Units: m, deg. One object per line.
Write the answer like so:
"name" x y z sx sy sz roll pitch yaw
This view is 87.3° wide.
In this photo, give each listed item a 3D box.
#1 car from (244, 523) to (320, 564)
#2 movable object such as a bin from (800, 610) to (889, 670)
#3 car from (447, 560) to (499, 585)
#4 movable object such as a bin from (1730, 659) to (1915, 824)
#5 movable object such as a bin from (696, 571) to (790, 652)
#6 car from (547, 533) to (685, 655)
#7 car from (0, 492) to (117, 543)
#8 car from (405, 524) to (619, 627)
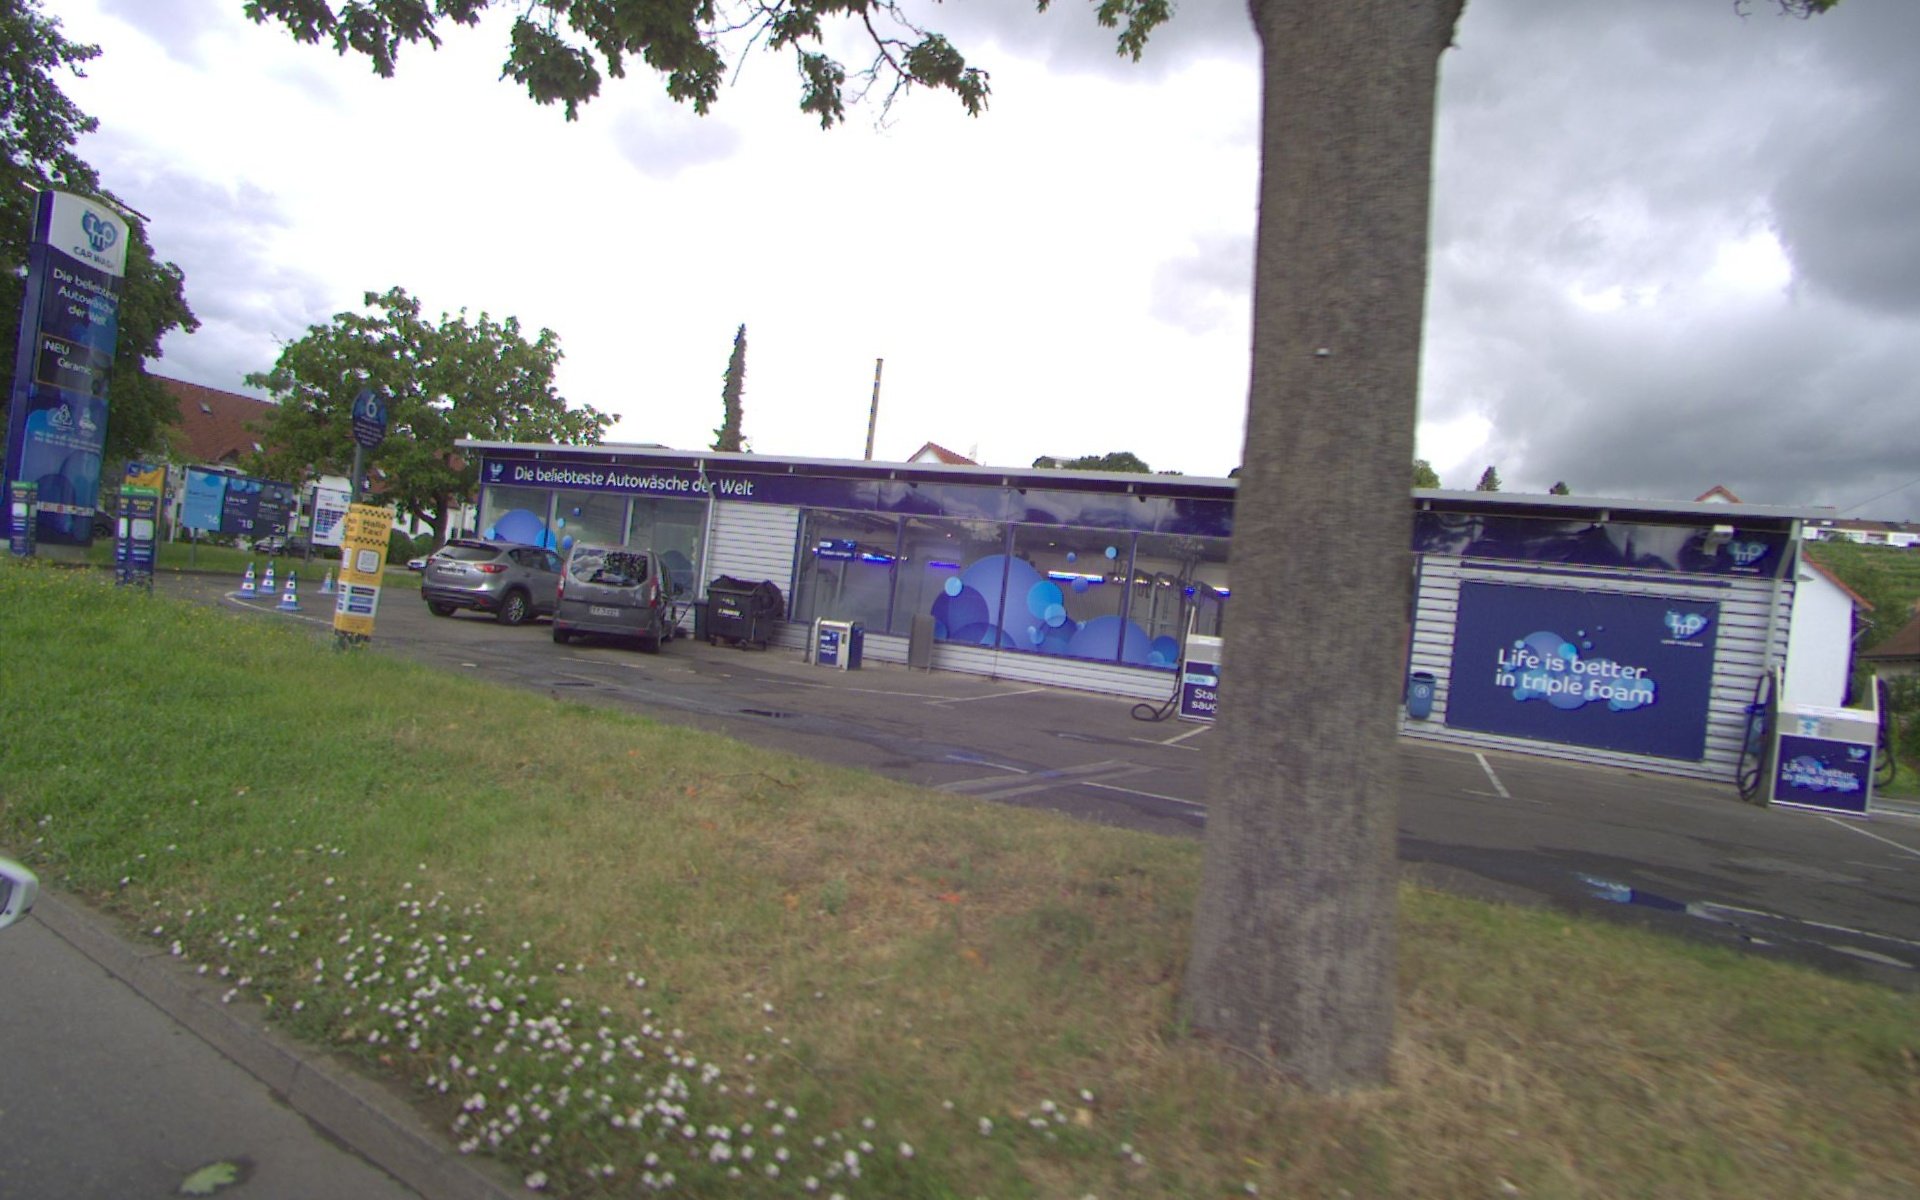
"car" -41.638 -3.431 61.899 1.965 1.784 4.001 8 -3 -5
"movable object such as a bin" -2.219 0.776 19.424 1.167 0.988 1.161 7 -1 27
"car" -40.530 -2.252 83.819 1.964 1.441 4.474 8 -3 0
"movable object such as a bin" 11.189 1.793 13.137 1.430 1.841 1.161 7 0 27
"movable object such as a bin" -4.554 0.249 21.171 1.363 1.492 1.161 7 0 27
"car" -6.336 -0.104 18.988 1.723 1.843 4.375 7 -1 -12
"car" -38.840 -3.543 42.822 1.678 1.544 4.155 6 -2 36
"car" -9.309 -0.422 21.342 1.805 1.718 4.215 8 0 13
